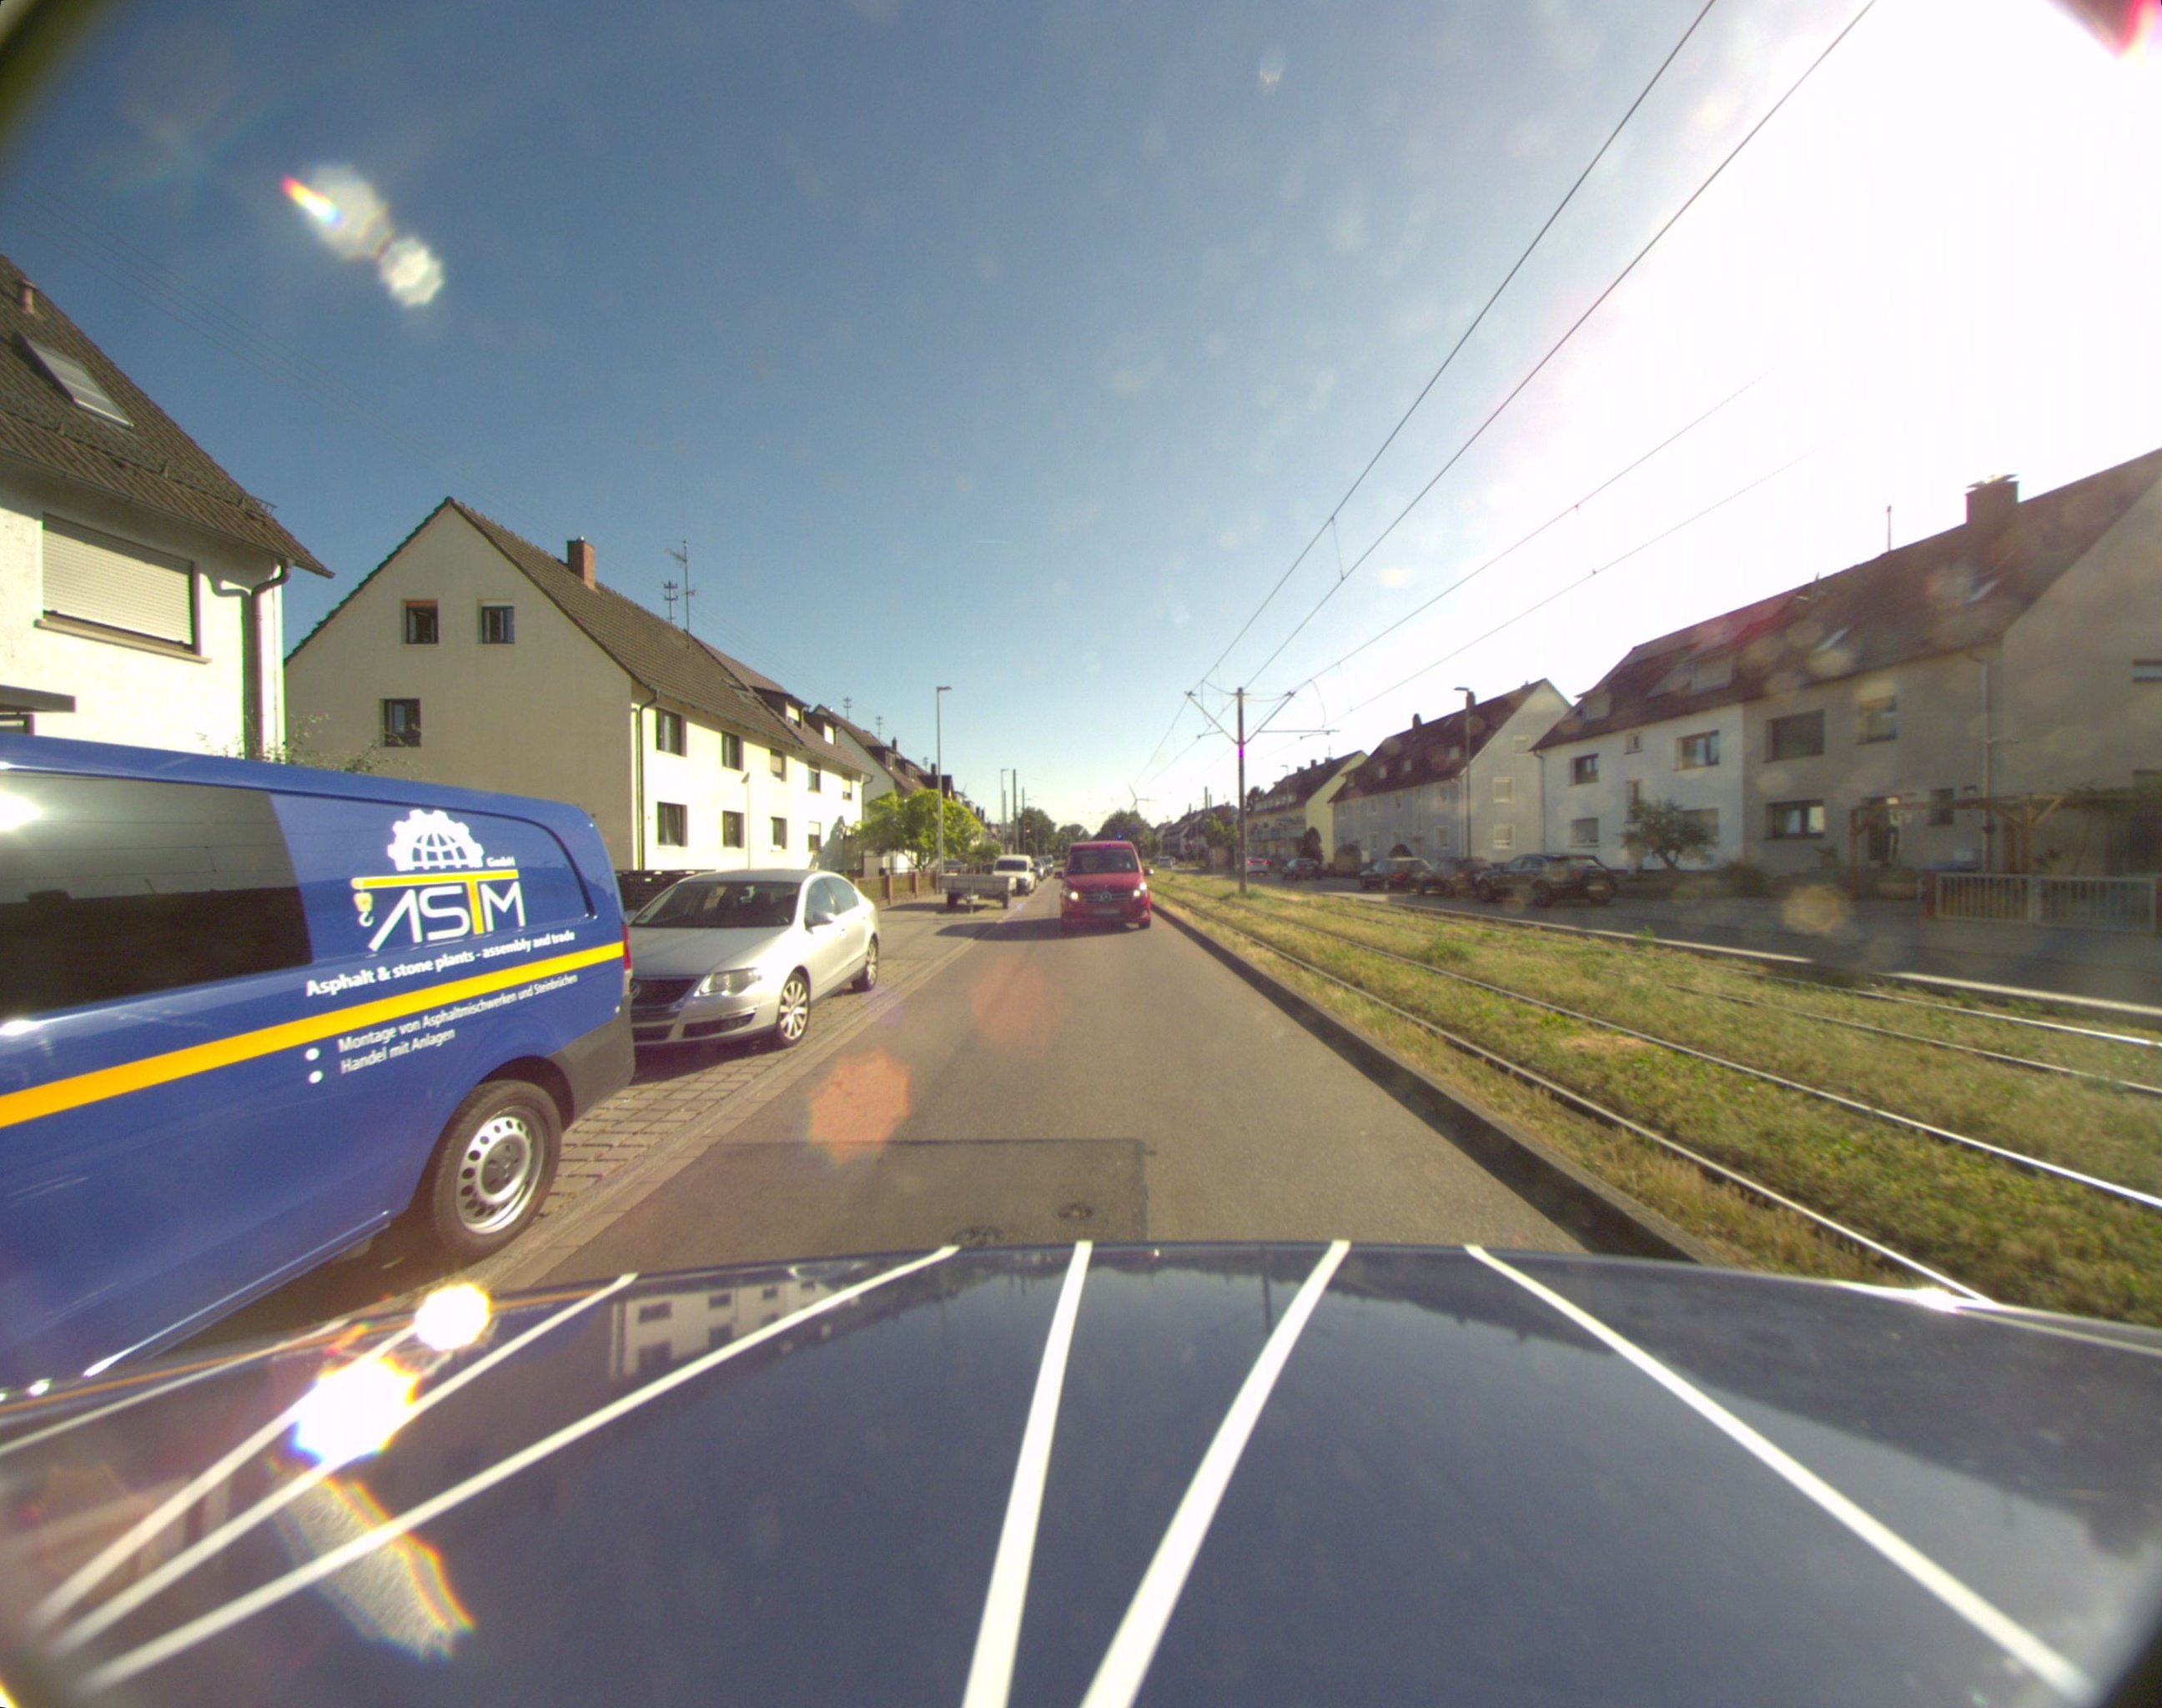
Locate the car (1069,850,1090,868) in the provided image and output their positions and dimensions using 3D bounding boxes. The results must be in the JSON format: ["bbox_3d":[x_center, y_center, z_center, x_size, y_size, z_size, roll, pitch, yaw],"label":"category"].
[{"bbox_3d":[-0.181,0.479,75.816,1.861,1.592,4.327,2,1,-2],"label":"car"}]

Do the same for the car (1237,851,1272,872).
[{"bbox_3d":[13.752,0.570,60.555,1.831,1.522,4.092,-2,1,1],"label":"car"}]

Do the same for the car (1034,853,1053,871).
[{"bbox_3d":[-3.377,0.672,69.160,1.524,1.571,4.583,1,0,-2],"label":"car"}]

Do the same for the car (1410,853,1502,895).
[{"bbox_3d":[13.935,0.701,28.467,1.469,1.459,3.999,-1,0,0],"label":"car"}]

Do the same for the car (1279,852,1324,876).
[{"bbox_3d":[14.017,0.599,48.518,1.704,1.389,4.092,-2,1,1],"label":"car"}]

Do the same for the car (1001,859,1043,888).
[{"bbox_3d":[-3.122,1.013,40.936,1.828,1.461,4.442,-1,0,0],"label":"car"}]

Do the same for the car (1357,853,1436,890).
[{"bbox_3d":[13.915,0.711,33.774,1.658,1.447,4.400,-2,1,1],"label":"car"}]

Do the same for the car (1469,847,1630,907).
[{"bbox_3d":[14.089,0.612,23.253,1.925,1.551,4.858,-2,1,0],"label":"car"}]

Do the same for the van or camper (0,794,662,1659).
[{"bbox_3d":[-3.270,0.791,1.317,1.954,1.836,5.582,0,1,0],"label":"van or camper"}]

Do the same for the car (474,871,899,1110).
[{"bbox_3d":[-3.268,0.970,7.737,1.735,1.450,5.284,-1,0,-2],"label":"car"}]

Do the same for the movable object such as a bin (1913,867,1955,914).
[{"bbox_3d":[18.360,0.777,16.363,0.198,1.007,0.607,-2,-1,4],"label":"movable object such as a bin"}]

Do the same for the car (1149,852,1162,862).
[{"bbox_3d":[13.285,0.547,135.798,2.016,1.560,4.092,-2,1,1],"label":"car"}]

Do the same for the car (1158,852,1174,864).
[{"bbox_3d":[11.209,0.524,100.368,1.704,1.455,4.092,-2,1,1],"label":"car"}]

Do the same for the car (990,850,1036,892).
[{"bbox_3d":[-3.038,0.725,34.676,1.796,1.752,4.583,2,0,-2],"label":"car"}]

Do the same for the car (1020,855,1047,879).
[{"bbox_3d":[-3.296,0.883,53.234,1.682,1.472,4.388,2,1,-2],"label":"car"}]

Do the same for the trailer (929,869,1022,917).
[{"bbox_3d":[-3.181,1.148,24.315,2.278,1.124,6.435,2,0,-2],"label":"trailer"}]

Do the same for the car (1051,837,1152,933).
[{"bbox_3d":[0.454,0.610,18.090,1.998,1.889,5.390,-2,1,1],"label":"car"}]

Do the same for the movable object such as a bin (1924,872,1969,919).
[{"bbox_3d":[17.698,0.838,15.542,0.198,0.941,0.607,-2,-1,4],"label":"movable object such as a bin"}]

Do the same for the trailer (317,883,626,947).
[{"bbox_3d":[-13.209,1.303,16.709,5.132,1.149,2.135,-1,1,3],"label":"trailer"}]
